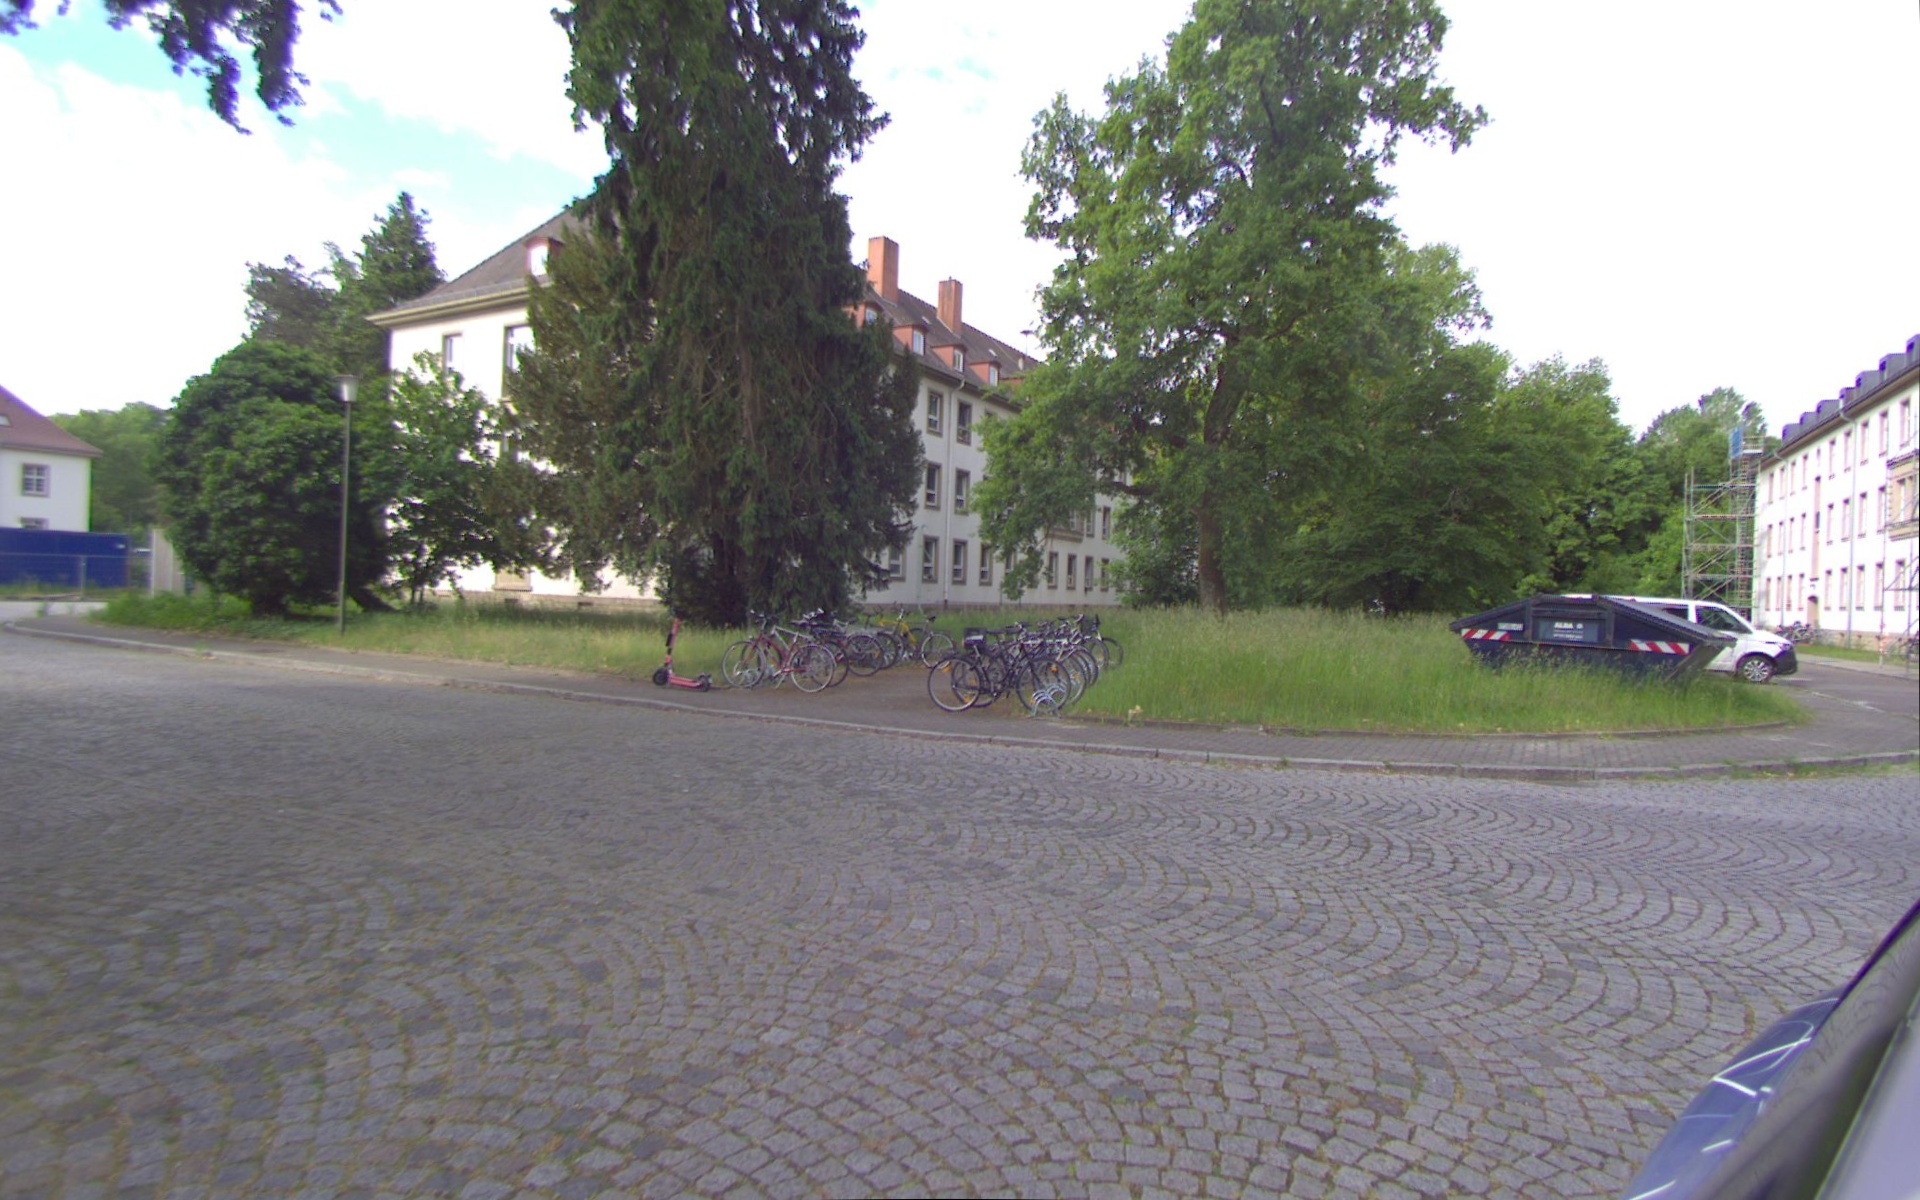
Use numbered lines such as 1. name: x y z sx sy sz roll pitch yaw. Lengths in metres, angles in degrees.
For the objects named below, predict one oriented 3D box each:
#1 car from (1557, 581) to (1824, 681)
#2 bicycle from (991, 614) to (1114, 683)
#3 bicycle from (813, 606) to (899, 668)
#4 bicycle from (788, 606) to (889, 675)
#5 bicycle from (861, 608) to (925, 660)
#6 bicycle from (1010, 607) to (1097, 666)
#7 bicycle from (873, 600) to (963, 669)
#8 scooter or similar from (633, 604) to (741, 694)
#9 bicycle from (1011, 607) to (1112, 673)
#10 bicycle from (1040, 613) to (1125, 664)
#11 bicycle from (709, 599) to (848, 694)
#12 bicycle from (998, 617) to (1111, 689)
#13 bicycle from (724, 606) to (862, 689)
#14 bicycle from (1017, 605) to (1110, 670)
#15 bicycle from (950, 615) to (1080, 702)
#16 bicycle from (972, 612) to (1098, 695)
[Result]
1. car: 18.273 0.721 25.710 5.174 2.086 2.165 3 0 30
2. bicycle: 1.497 0.770 16.326 1.929 1.017 0.684 0 2 12
3. bicycle: -1.885 0.669 18.439 1.488 1.048 0.545 1 2 1
4. bicycle: -2.028 0.671 16.992 1.599 1.087 0.540 1 2 1
5. bicycle: -1.381 0.702 20.942 1.243 1.042 0.432 0 -3 12
6. bicycle: 1.787 0.684 19.280 1.596 1.072 0.525 0 2 12
7. bicycle: -0.788 0.641 19.042 1.615 1.200 0.574 2 2 5
8. scooter or similar: -3.967 0.680 14.687 1.542 1.210 0.674 1 1 34
9. bicycle: 1.825 0.702 18.142 1.749 1.118 0.540 0 2 12
10. bicycle: 2.387 0.736 19.707 1.596 0.922 0.525 0 2 12
11. bicycle: -2.628 0.651 14.709 1.872 1.238 0.642 2 2 12
12. bicycle: 1.452 0.797 15.498 1.670 1.014 0.630 0 2 12
13. bicycle: -2.529 0.701 15.366 1.960 1.128 0.642 2 2 12
14. bicycle: 1.917 0.676 18.689 1.675 1.130 0.540 0 2 12
15. bicycle: 0.785 0.792 14.159 1.746 1.117 0.700 0 2 12
16. bicycle: 1.108 0.764 14.866 1.771 1.117 0.700 0 2 12
